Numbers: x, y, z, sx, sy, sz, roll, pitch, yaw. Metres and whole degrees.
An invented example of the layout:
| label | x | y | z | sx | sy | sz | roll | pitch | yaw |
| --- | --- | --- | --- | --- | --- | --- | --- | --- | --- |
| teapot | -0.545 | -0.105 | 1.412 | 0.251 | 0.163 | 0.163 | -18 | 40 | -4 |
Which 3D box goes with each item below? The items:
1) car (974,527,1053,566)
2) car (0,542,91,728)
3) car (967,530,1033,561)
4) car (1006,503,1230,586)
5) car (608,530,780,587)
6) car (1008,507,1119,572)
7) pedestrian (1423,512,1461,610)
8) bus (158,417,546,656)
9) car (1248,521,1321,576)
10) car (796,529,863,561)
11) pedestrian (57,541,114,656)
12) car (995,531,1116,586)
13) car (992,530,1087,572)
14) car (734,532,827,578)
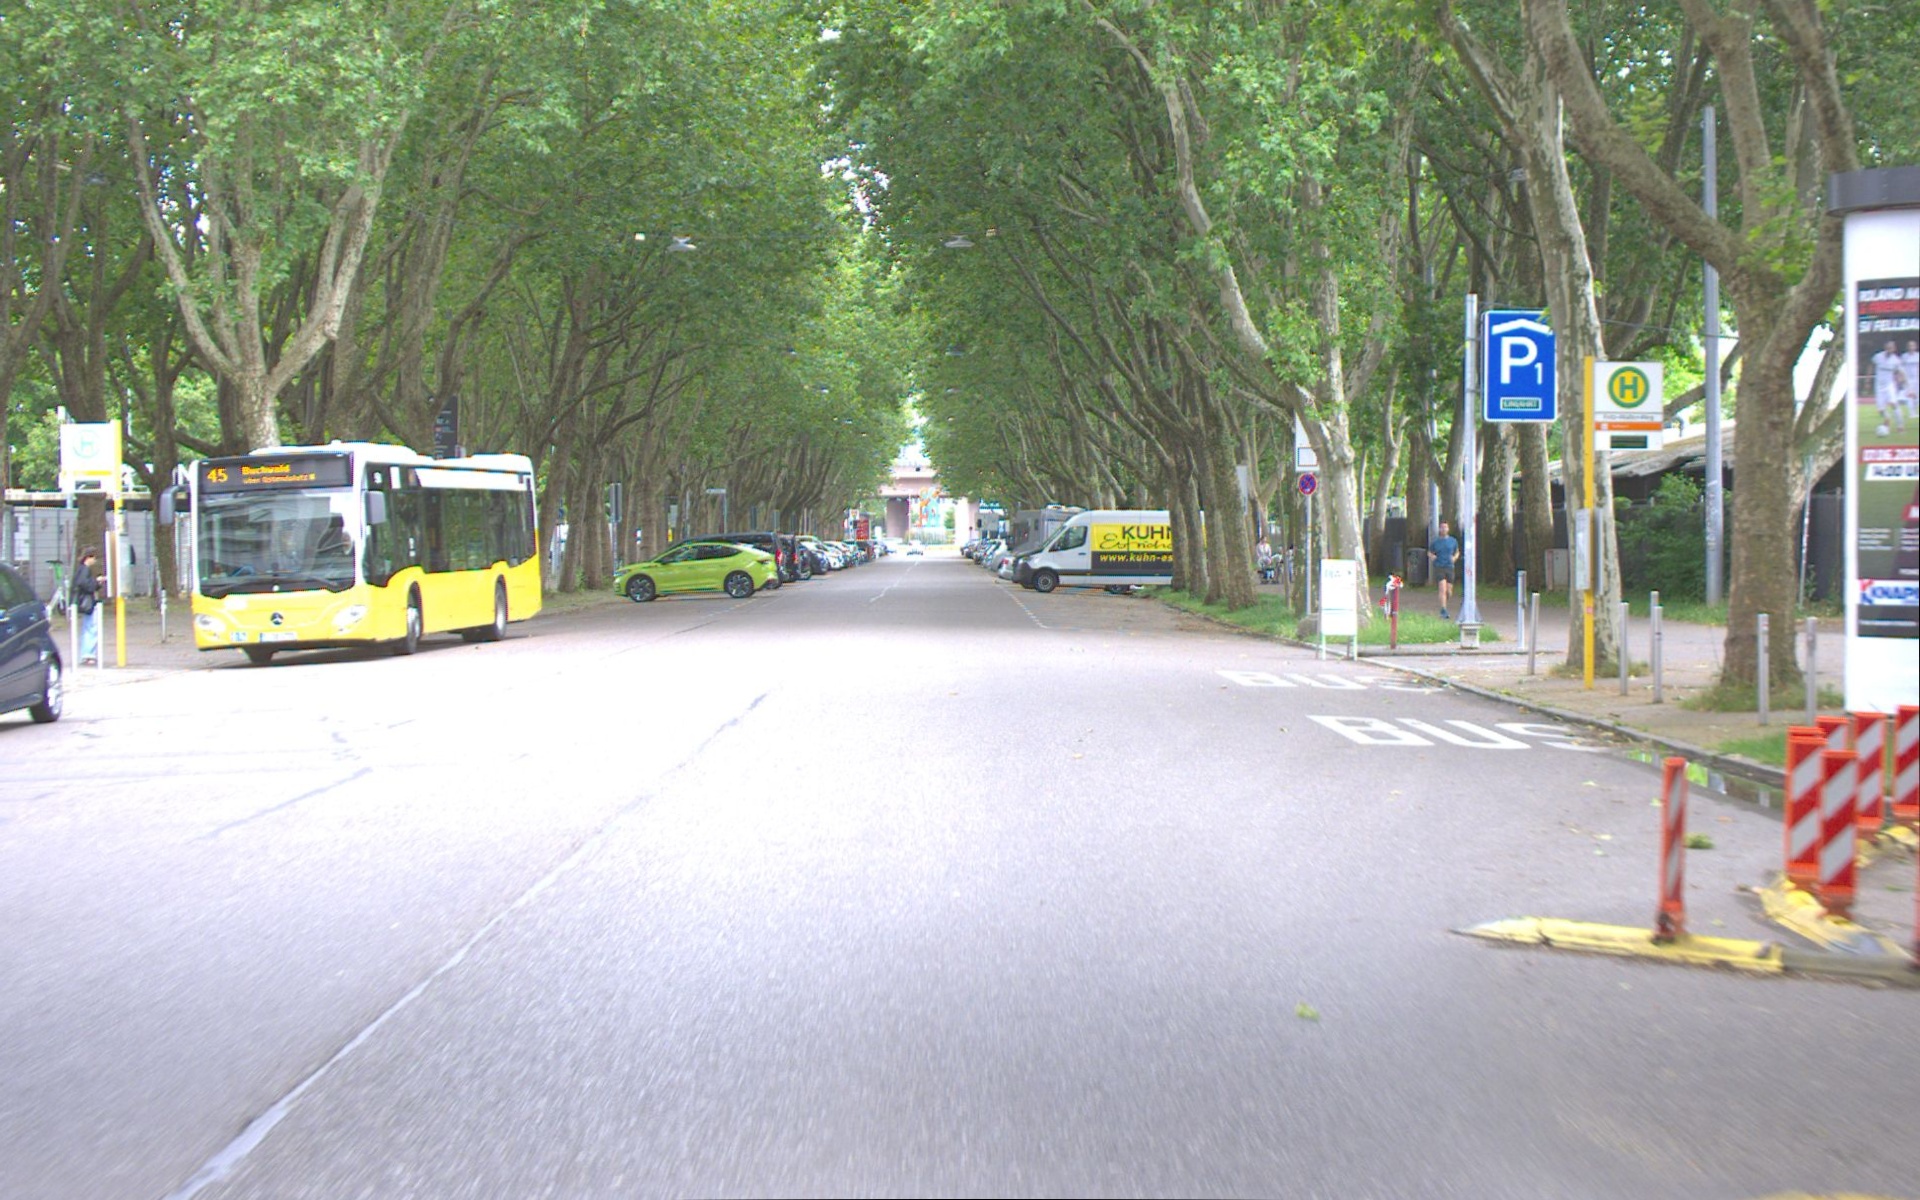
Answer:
| label | x | y | z | sx | sy | sz | roll | pitch | yaw |
| --- | --- | --- | --- | --- | --- | --- | --- | --- | --- |
| car | 2.482 | -2.493 | 160.303 | 3.621 | 1.787 | 1.543 | 0 | 1 | -1 |
| car | -9.304 | 0.345 | 30.613 | 1.993 | 1.579 | 4.113 | -3 | 1 | 0 |
| car | 2.447 | -3.361 | 210.861 | 3.987 | 1.855 | 1.637 | 0 | 1 | 1 |
| car | 4.887 | -1.735 | 107.050 | 6.823 | 2.505 | 2.317 | 0 | 2 | -2 |
| car | -7.495 | -1.173 | 97.136 | 4.700 | 1.579 | 1.864 | 0 | 1 | 1 |
| car | 3.745 | -2.200 | 125.141 | 3.987 | 2.331 | 1.543 | 0 | 1 | -1 |
| pedestrian | 9.312 | -0.762 | 66.482 | 0.572 | 1.881 | 0.617 | 0 | 1 | -9 |
| bus | -9.058 | -0.998 | 53.214 | 3.039 | 3.149 | 12.676 | -2 | 1 | 3 |
| car | 10.546 | -1.679 | 112.026 | 1.993 | 1.766 | 4.000 | 0 | 1 | 0 |
| car | -8.011 | -3.394 | 211.120 | 3.987 | 1.963 | 2.000 | 0 | 1 | 1 |
| pedestrian | -12.374 | -0.028 | 48.648 | 0.667 | 1.598 | 0.611 | -1 | 1 | -25 |
| car | 3.171 | -1.389 | 114.515 | 3.987 | 1.787 | 1.543 | 0 | 1 | -1 |
| car | 3.372 | -2.075 | 145.741 | 3.987 | 1.787 | 1.543 | 0 | 1 | -1 |
| car | -7.365 | -1.857 | 140.971 | 3.661 | 1.857 | 1.624 | 0 | 1 | 3 |
